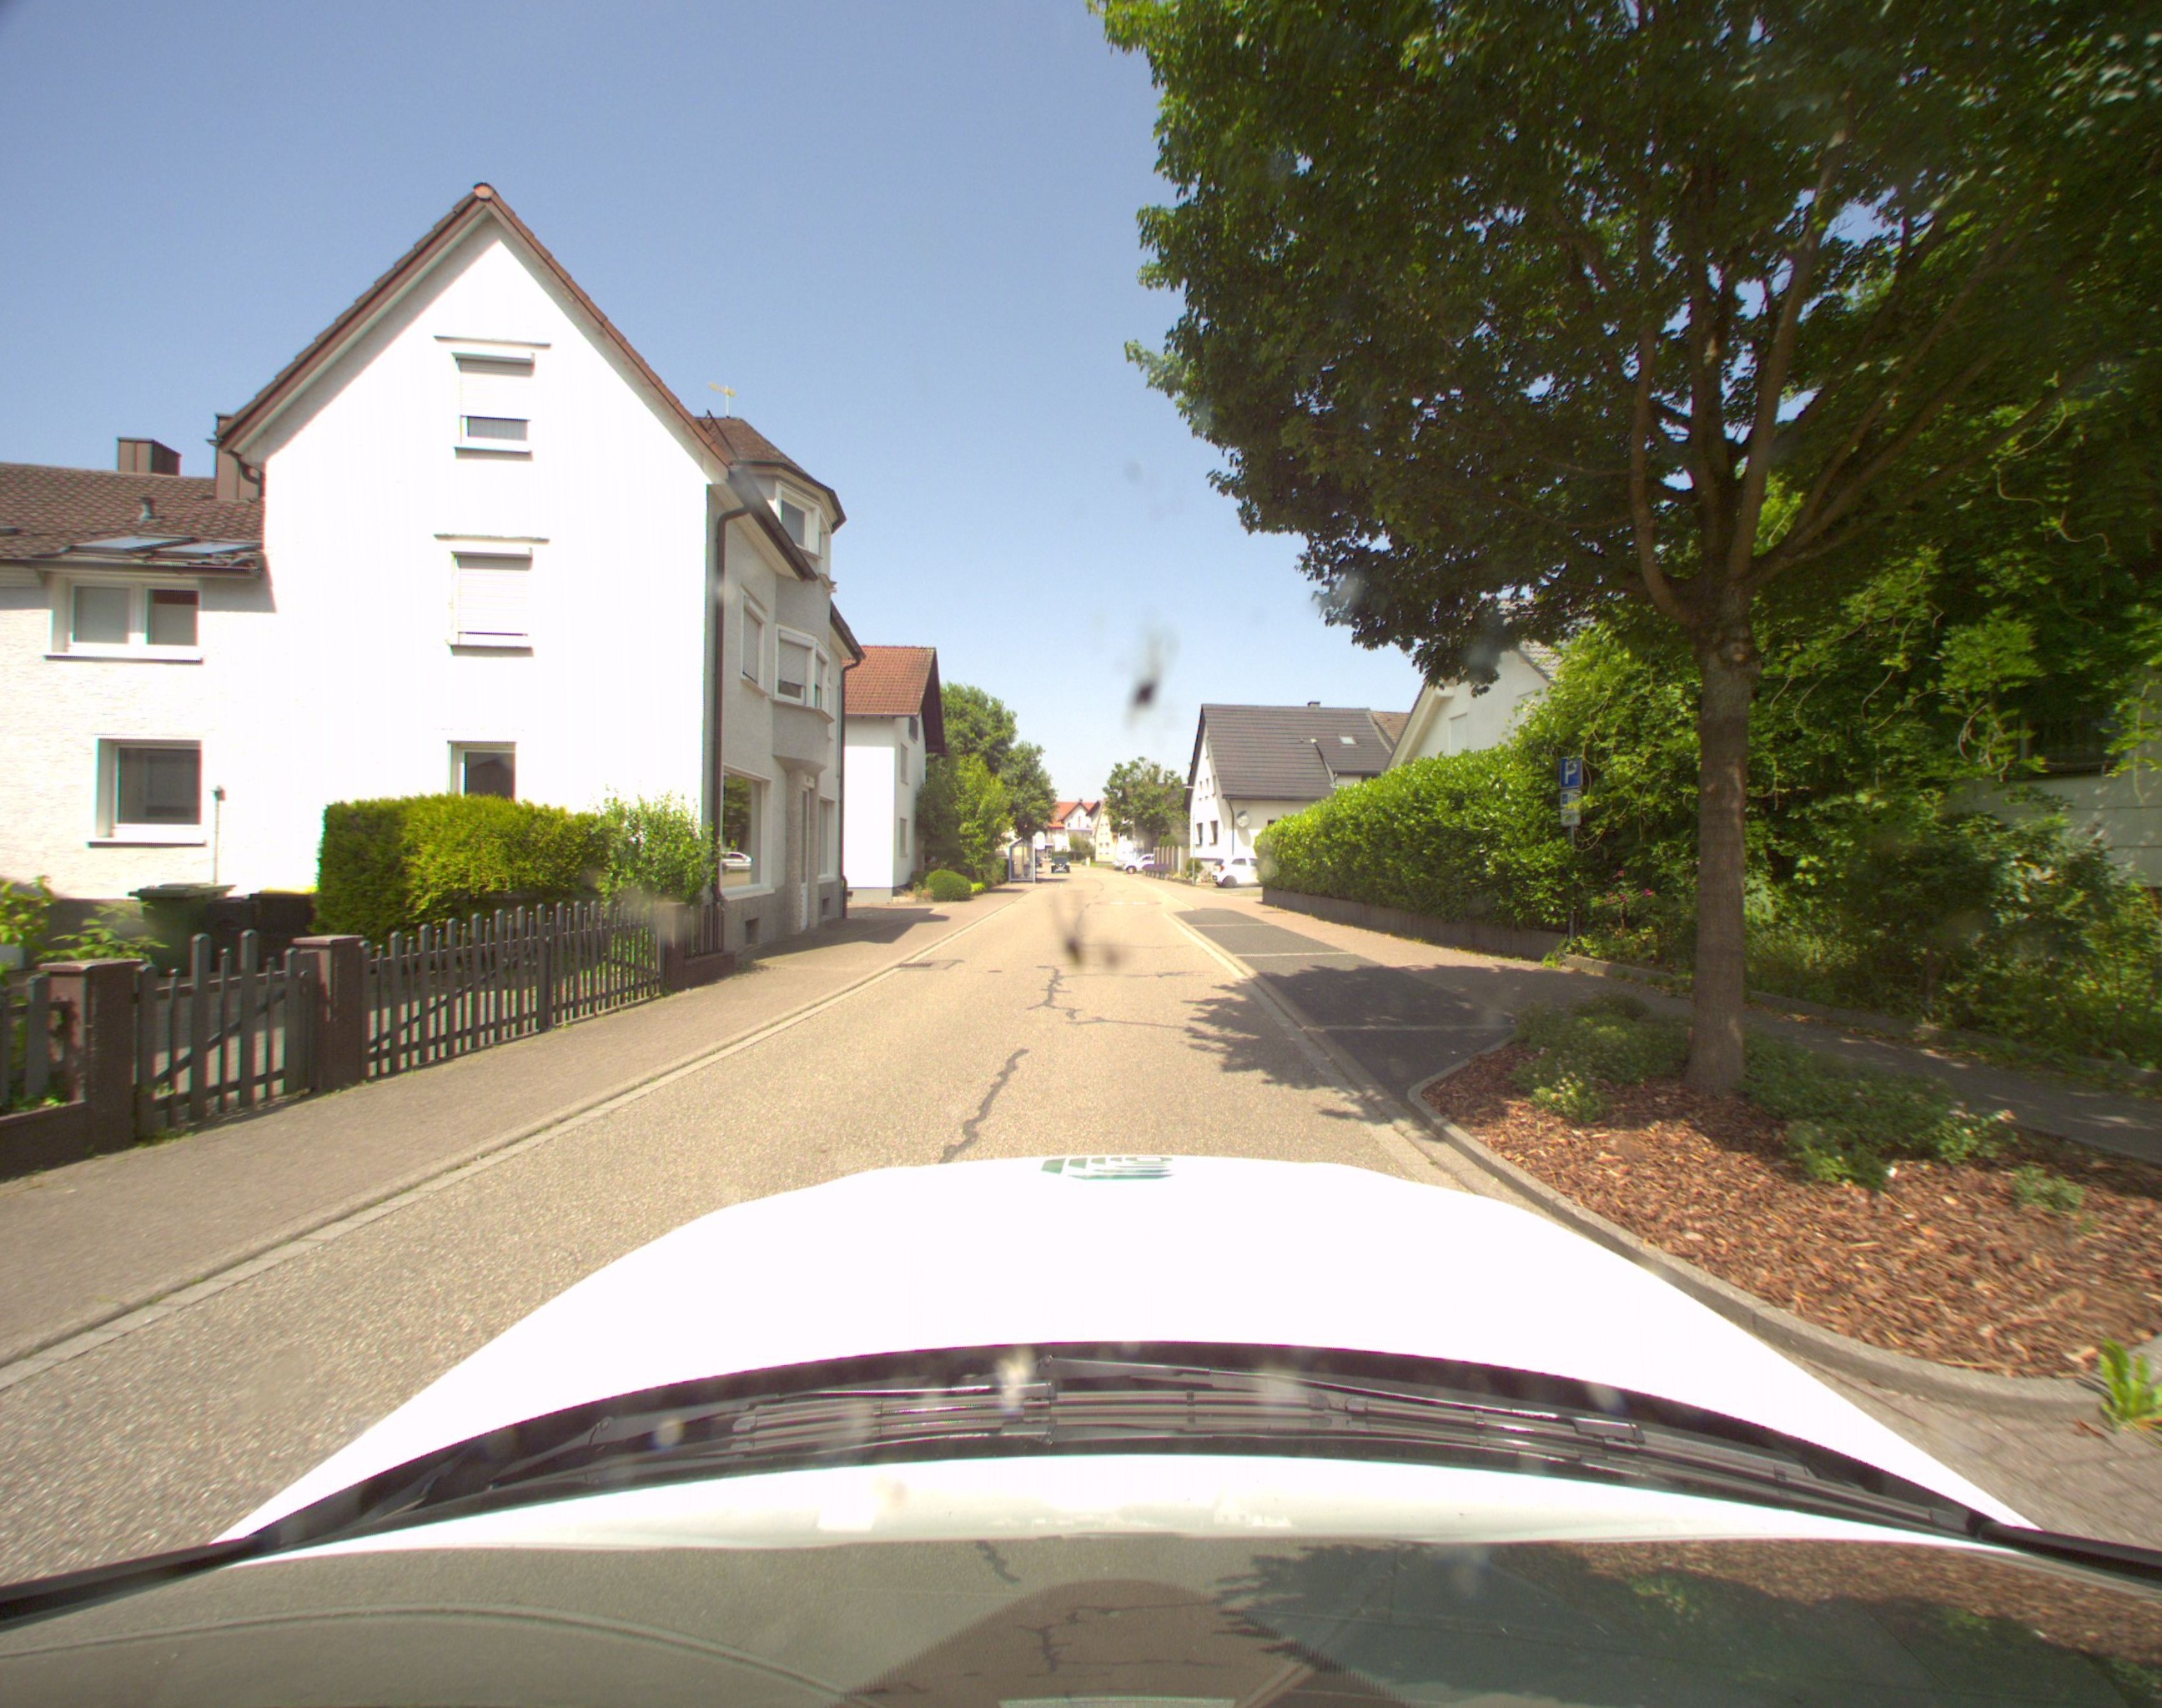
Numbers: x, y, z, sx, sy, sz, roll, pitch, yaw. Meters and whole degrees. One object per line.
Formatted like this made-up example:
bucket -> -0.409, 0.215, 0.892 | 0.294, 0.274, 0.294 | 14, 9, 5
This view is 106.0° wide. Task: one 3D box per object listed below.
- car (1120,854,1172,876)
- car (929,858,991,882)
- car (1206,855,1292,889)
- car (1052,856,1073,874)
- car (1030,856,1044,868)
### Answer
car -> 5.670, 0.929, 71.159 | 4.304, 1.767, 1.891 | -2, 0, -1
car -> -8.497, 1.102, 57.641 | 4.152, 1.538, 1.771 | -1, 0, -4
car -> 7.943, 0.832, 38.761 | 3.653, 1.474, 1.762 | -1, 0, -7
car -> -1.777, 1.068, 79.561 | 1.769, 1.623, 4.108 | -1, -1, 3
car -> -5.809, 1.028, 107.432 | 1.625, 1.486, 3.989 | 0, 0, -8
